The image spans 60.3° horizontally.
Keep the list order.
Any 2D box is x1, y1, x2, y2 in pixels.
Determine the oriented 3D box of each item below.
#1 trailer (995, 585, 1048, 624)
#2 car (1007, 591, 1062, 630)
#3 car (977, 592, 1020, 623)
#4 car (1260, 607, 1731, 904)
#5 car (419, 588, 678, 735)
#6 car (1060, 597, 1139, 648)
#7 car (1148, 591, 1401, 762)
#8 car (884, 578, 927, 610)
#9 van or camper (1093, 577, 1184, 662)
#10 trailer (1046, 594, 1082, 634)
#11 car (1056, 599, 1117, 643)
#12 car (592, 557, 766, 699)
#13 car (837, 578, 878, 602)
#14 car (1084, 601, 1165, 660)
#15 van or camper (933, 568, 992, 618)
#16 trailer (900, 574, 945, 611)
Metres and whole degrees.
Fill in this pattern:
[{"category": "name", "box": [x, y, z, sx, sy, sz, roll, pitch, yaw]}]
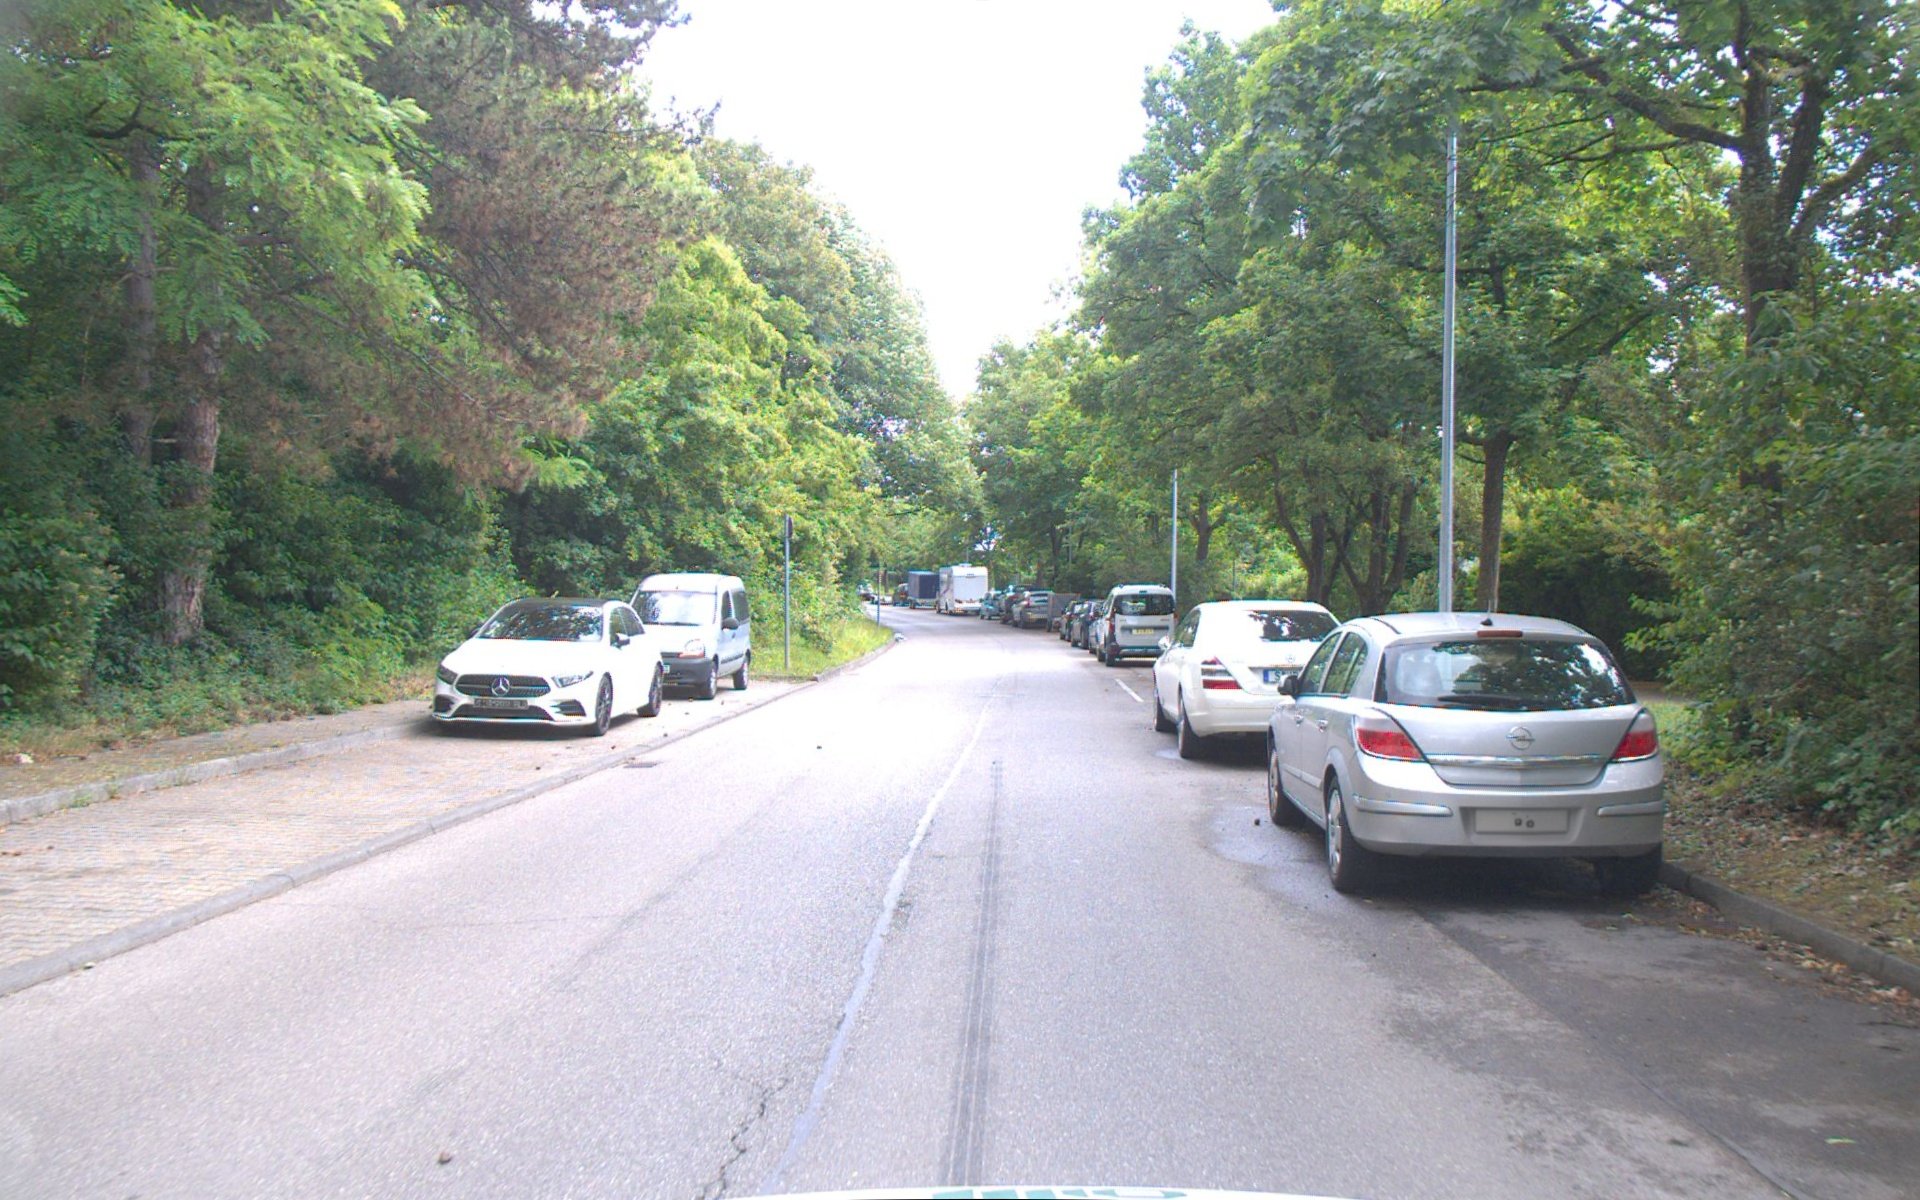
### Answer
[{"category": "trailer", "box": [2.970, 0.191, 81.460, 1.941, 1.843, 5.143, 0, 1, -6]}, {"category": "car", "box": [3.337, 0.487, 75.004, 1.758, 1.699, 4.494, 0, -1, -7]}, {"category": "car", "box": [2.096, 0.372, 90.629, 1.766, 1.589, 3.828, 0, 1, -8]}, {"category": "car", "box": [2.976, 0.763, 10.098, 1.755, 1.435, 4.061, 0, 0, 3]}, {"category": "car", "box": [-4.573, 0.616, 19.057, 1.768, 1.427, 4.372, 2, 0, 1]}, {"category": "car", "box": [4.266, 0.674, 51.311, 1.810, 1.500, 4.476, 1, 0, -3]}, {"category": "car", "box": [3.133, 0.685, 17.543, 1.847, 1.533, 5.177, 0, 0, 2]}, {"category": "car", "box": [-3.881, -0.445, 116.902, 1.963, 2.061, 3.979, -3, 3, -19]}, {"category": "van or camper", "box": [4.144, 0.493, 38.947, 1.764, 1.870, 4.321, 1, -1, 1]}, {"category": "trailer", "box": [4.318, 0.557, 68.818, 1.253, 1.613, 2.459, 1, 0, -3]}, {"category": "car", "box": [4.409, 0.708, 58.110, 1.686, 1.478, 3.915, 1, 0, -3]}, {"category": "car", "box": [-4.260, 0.378, 25.658, 1.685, 1.955, 4.107, 2, 1, 4]}, {"category": "car", "box": [-8.076, -0.786, 129.591, 2.008, 1.835, 4.054, -1, 1, -23]}, {"category": "car", "box": [4.396, 0.789, 44.758, 1.775, 1.462, 4.243, 1, 0, 1]}, {"category": "van or camper", "box": [0.110, -0.440, 101.057, 2.437, 2.926, 6.873, 0, 0, -10]}, {"category": "trailer", "box": [-2.551, -0.501, 111.568, 1.962, 2.440, 3.980, 0, 0, -18]}]
